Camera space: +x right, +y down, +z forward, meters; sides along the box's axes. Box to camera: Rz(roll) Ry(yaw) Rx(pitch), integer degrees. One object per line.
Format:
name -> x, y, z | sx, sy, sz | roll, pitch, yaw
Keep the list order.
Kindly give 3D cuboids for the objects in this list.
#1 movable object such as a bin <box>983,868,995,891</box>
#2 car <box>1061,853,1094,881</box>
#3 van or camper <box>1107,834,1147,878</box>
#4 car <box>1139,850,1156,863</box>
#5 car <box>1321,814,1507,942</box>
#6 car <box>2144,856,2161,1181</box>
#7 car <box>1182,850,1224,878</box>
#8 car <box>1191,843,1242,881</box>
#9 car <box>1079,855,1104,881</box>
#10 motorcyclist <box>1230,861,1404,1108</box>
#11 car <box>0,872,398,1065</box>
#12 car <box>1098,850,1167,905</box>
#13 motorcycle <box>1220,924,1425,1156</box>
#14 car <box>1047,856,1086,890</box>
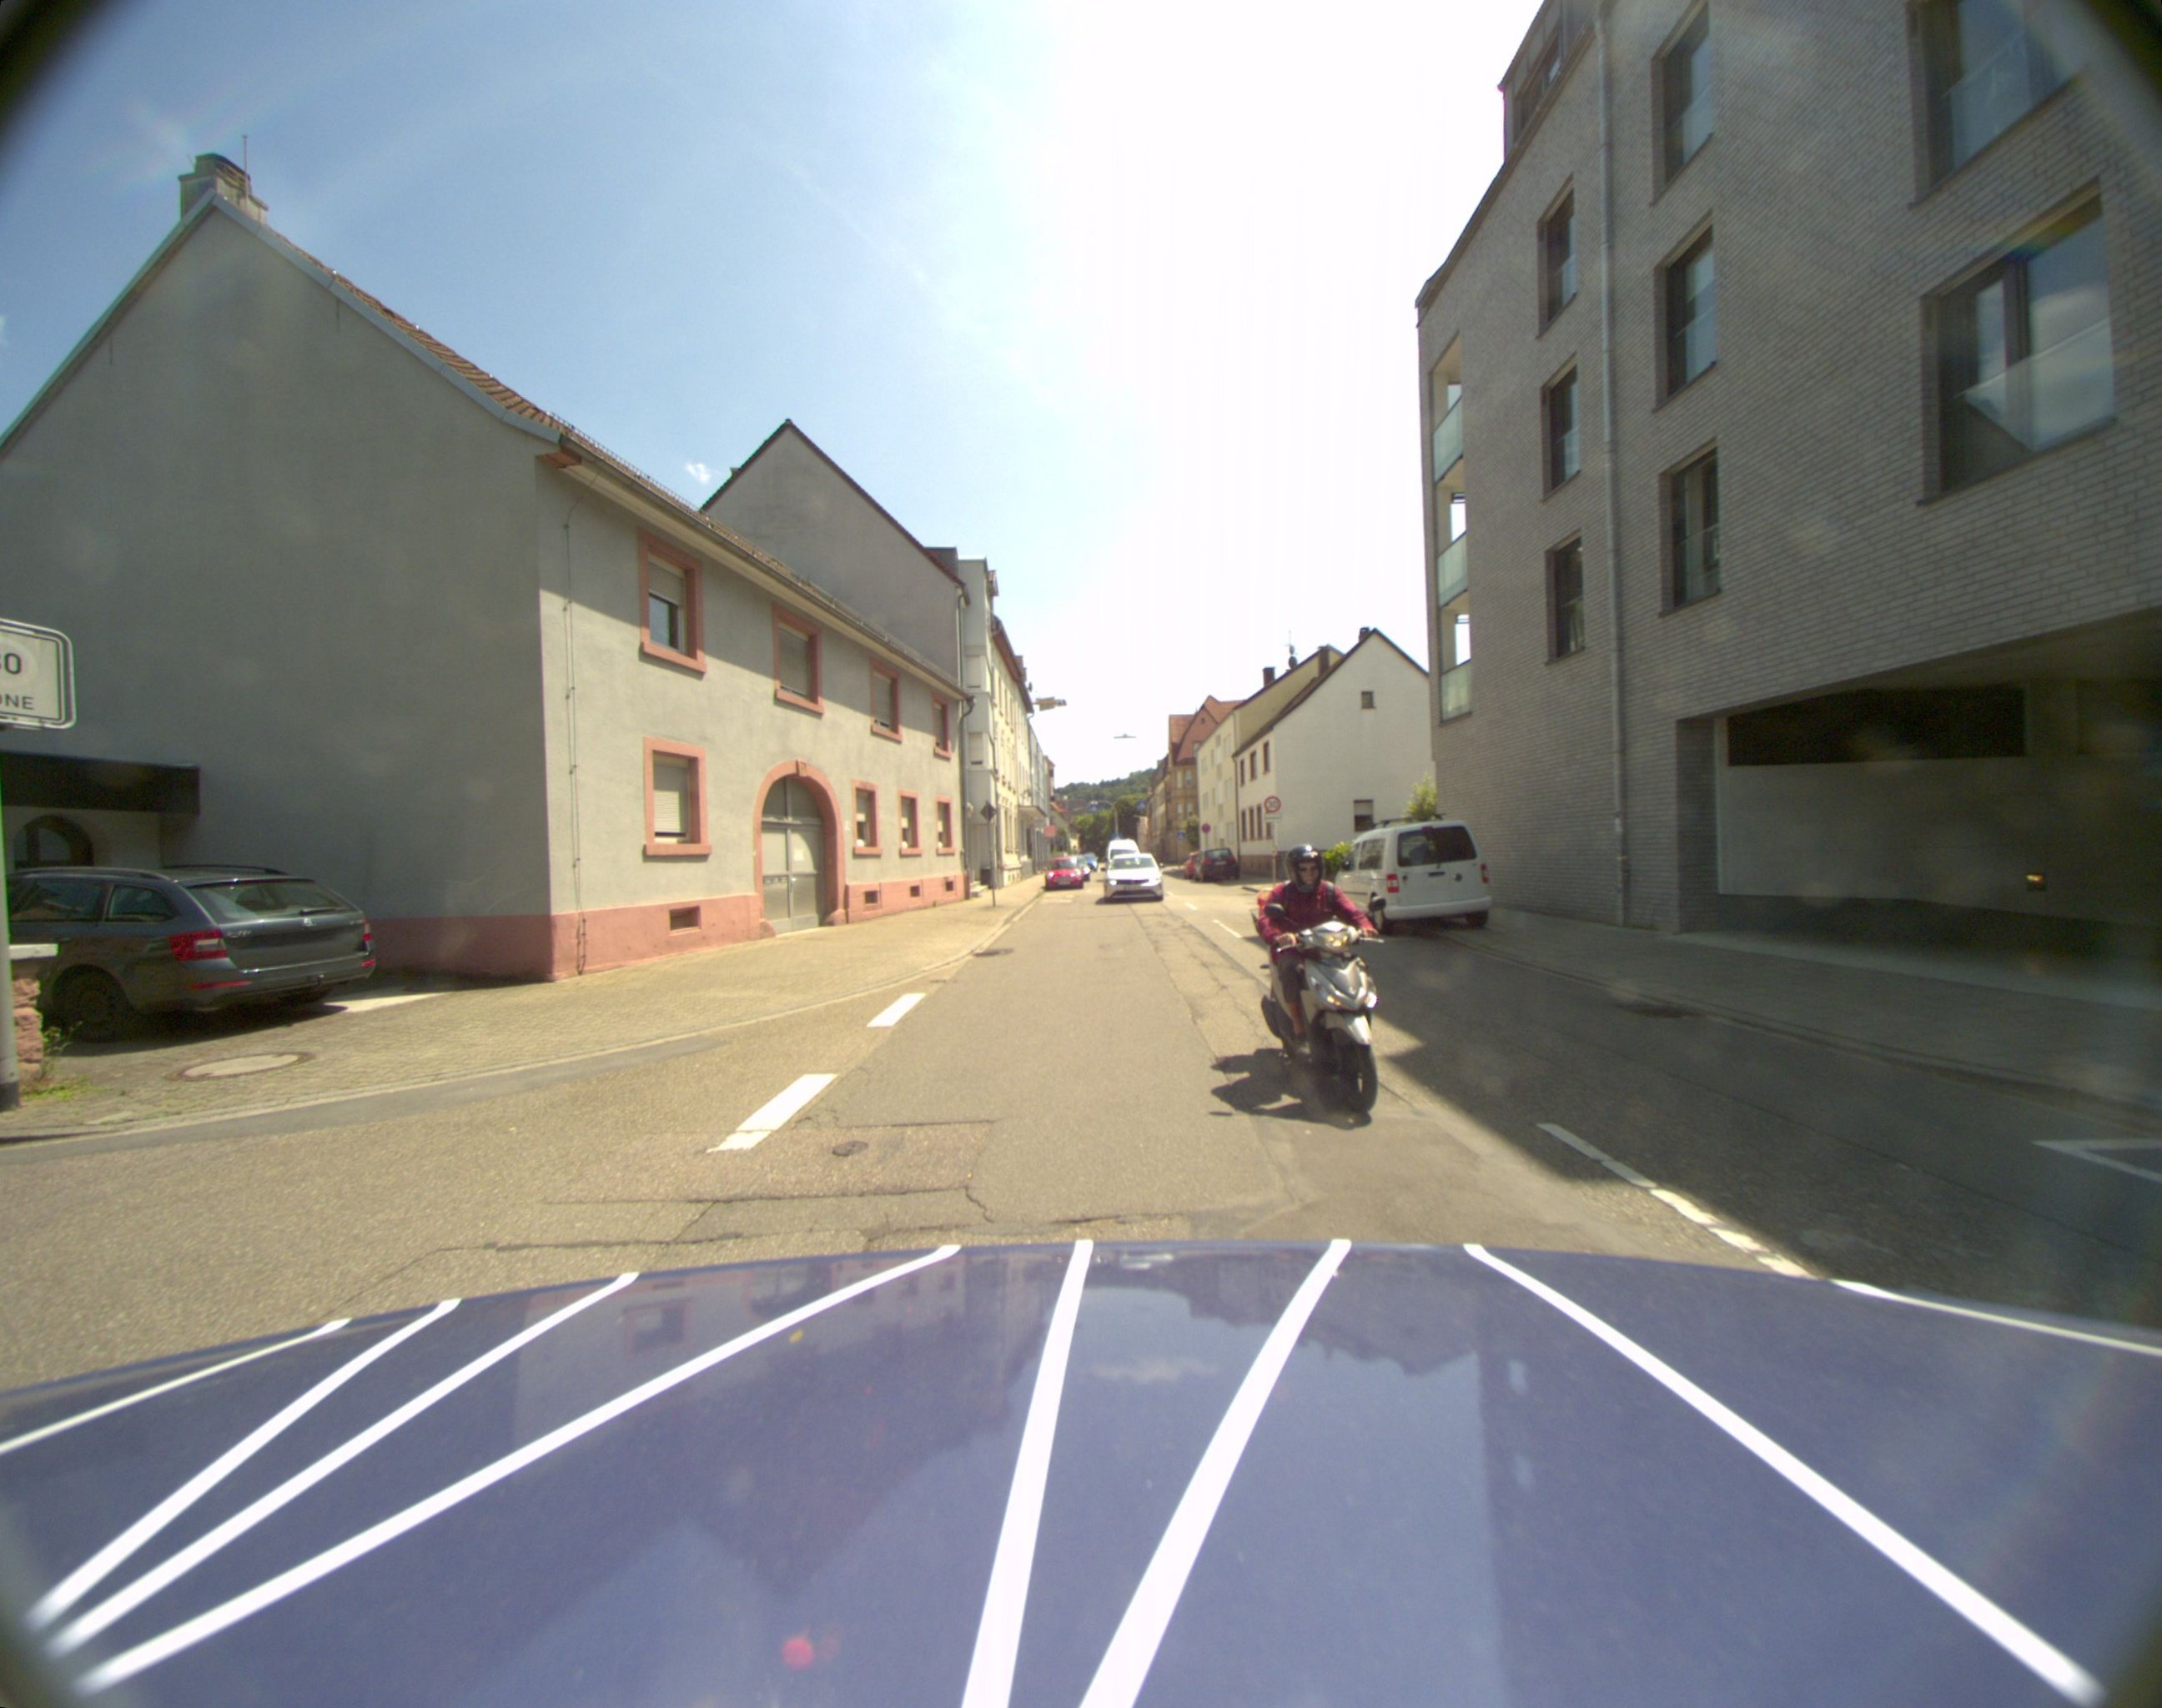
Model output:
movable object such as a bin -> -3.847, 1.054, 31.702 | 0.474, 0.929, 0.487 | -1, 1, -6
car -> -0.226, 0.715, 43.372 | 1.733, 1.412, 4.544 | -2, 0, -1
van or camper -> 2.525, 0.099, 42.891 | 1.998, 2.273, 5.145 | -2, 0, 1
car -> 7.643, 0.269, 87.430 | 1.787, 1.450, 4.635 | -2, 1, 3
car -> 5.905, 0.374, 14.106 | 1.761, 1.881, 4.338 | -4, 0, 5
car -> 5.564, 0.705, 1.368 | 1.727, 1.448, 4.005 | -3, 0, 2
car -> 6.654, 0.504, 41.944 | 1.838, 1.408, 4.290 | -2, 0, 4
car -> 6.517, 0.353, 36.965 | 1.799, 1.637, 3.945 | -3, 0, 2
car -> 0.939, 1.171, 65.762 | 1.998, 2.002, 4.000 | -4, 0, 2
motorcyclist -> 1.505, 0.786, 5.037 | 0.793, 1.431, 1.020 | -3, 0, 2
car -> -9.511, 0.988, 7.382 | 4.277, 1.521, 1.742 | 0, 2, 4
car -> 1.544, 0.675, 24.065 | 1.812, 1.512, 4.000 | -3, 0, 0
motorcycle -> 1.498, 1.108, 5.128 | 0.760, 1.049, 1.992 | -3, 0, 2
car -> -0.635, 0.820, 34.036 | 1.623, 1.377, 3.538 | -2, 0, -1
